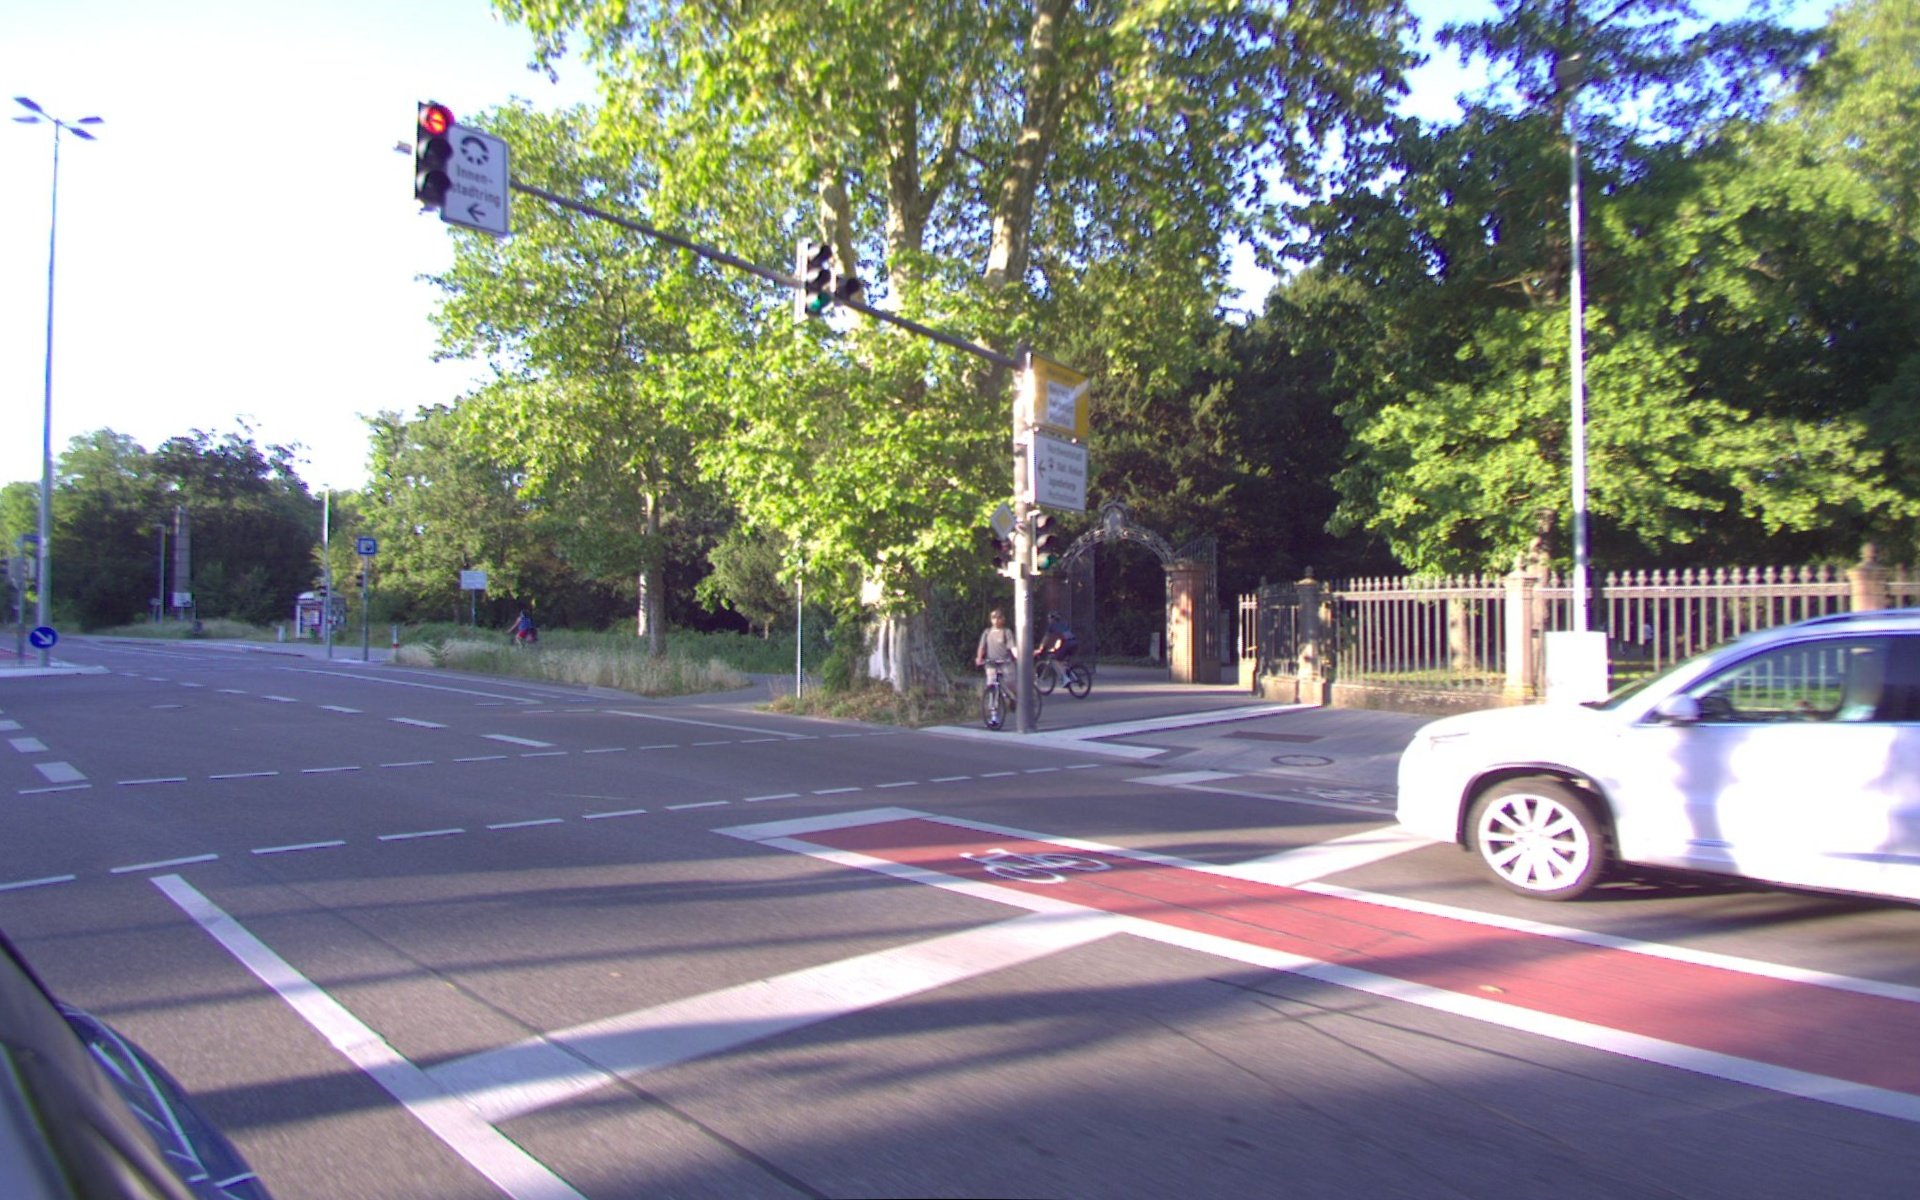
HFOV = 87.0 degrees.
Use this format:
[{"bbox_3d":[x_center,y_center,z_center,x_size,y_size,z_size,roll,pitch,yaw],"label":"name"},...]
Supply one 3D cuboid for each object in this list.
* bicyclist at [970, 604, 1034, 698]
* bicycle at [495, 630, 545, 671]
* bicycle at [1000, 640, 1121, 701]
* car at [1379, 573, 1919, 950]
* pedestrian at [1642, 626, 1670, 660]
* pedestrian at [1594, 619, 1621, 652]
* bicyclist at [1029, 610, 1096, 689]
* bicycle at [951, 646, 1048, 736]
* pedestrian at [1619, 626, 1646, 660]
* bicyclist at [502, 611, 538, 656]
[{"bbox_3d":[0.637,0.749,15.229,0.573,1.372,0.828,-1,-2,42],"label":"bicyclist"},{"bbox_3d":[-14.223,1.625,32.711,1.980,1.266,0.780,-1,-2,44],"label":"bicycle"},{"bbox_3d":[1.915,1.325,19.439,2.196,1.023,0.846,1,-1,40],"label":"bicycle"},{"bbox_3d":[4.838,0.778,5.455,4.423,1.708,1.896,-1,-3,40],"label":"car"},{"bbox_3d":[34.079,2.091,49.539,0.861,1.672,0.907,1,-2,-39],"label":"pedestrian"},{"bbox_3d":[32.834,1.802,51.322,0.861,1.672,0.907,1,-2,-39],"label":"pedestrian"},{"bbox_3d":[1.967,0.945,19.432,0.943,1.442,0.846,1,-1,40],"label":"bicyclist"},{"bbox_3d":[0.616,1.336,15.221,0.573,1.239,1.610,-1,-2,41],"label":"bicycle"},{"bbox_3d":[33.439,2.143,50.312,0.861,1.672,0.907,1,-2,-39],"label":"pedestrian"},{"bbox_3d":[-14.209,1.066,32.706,0.892,1.438,0.780,-1,-2,44],"label":"bicyclist"}]
